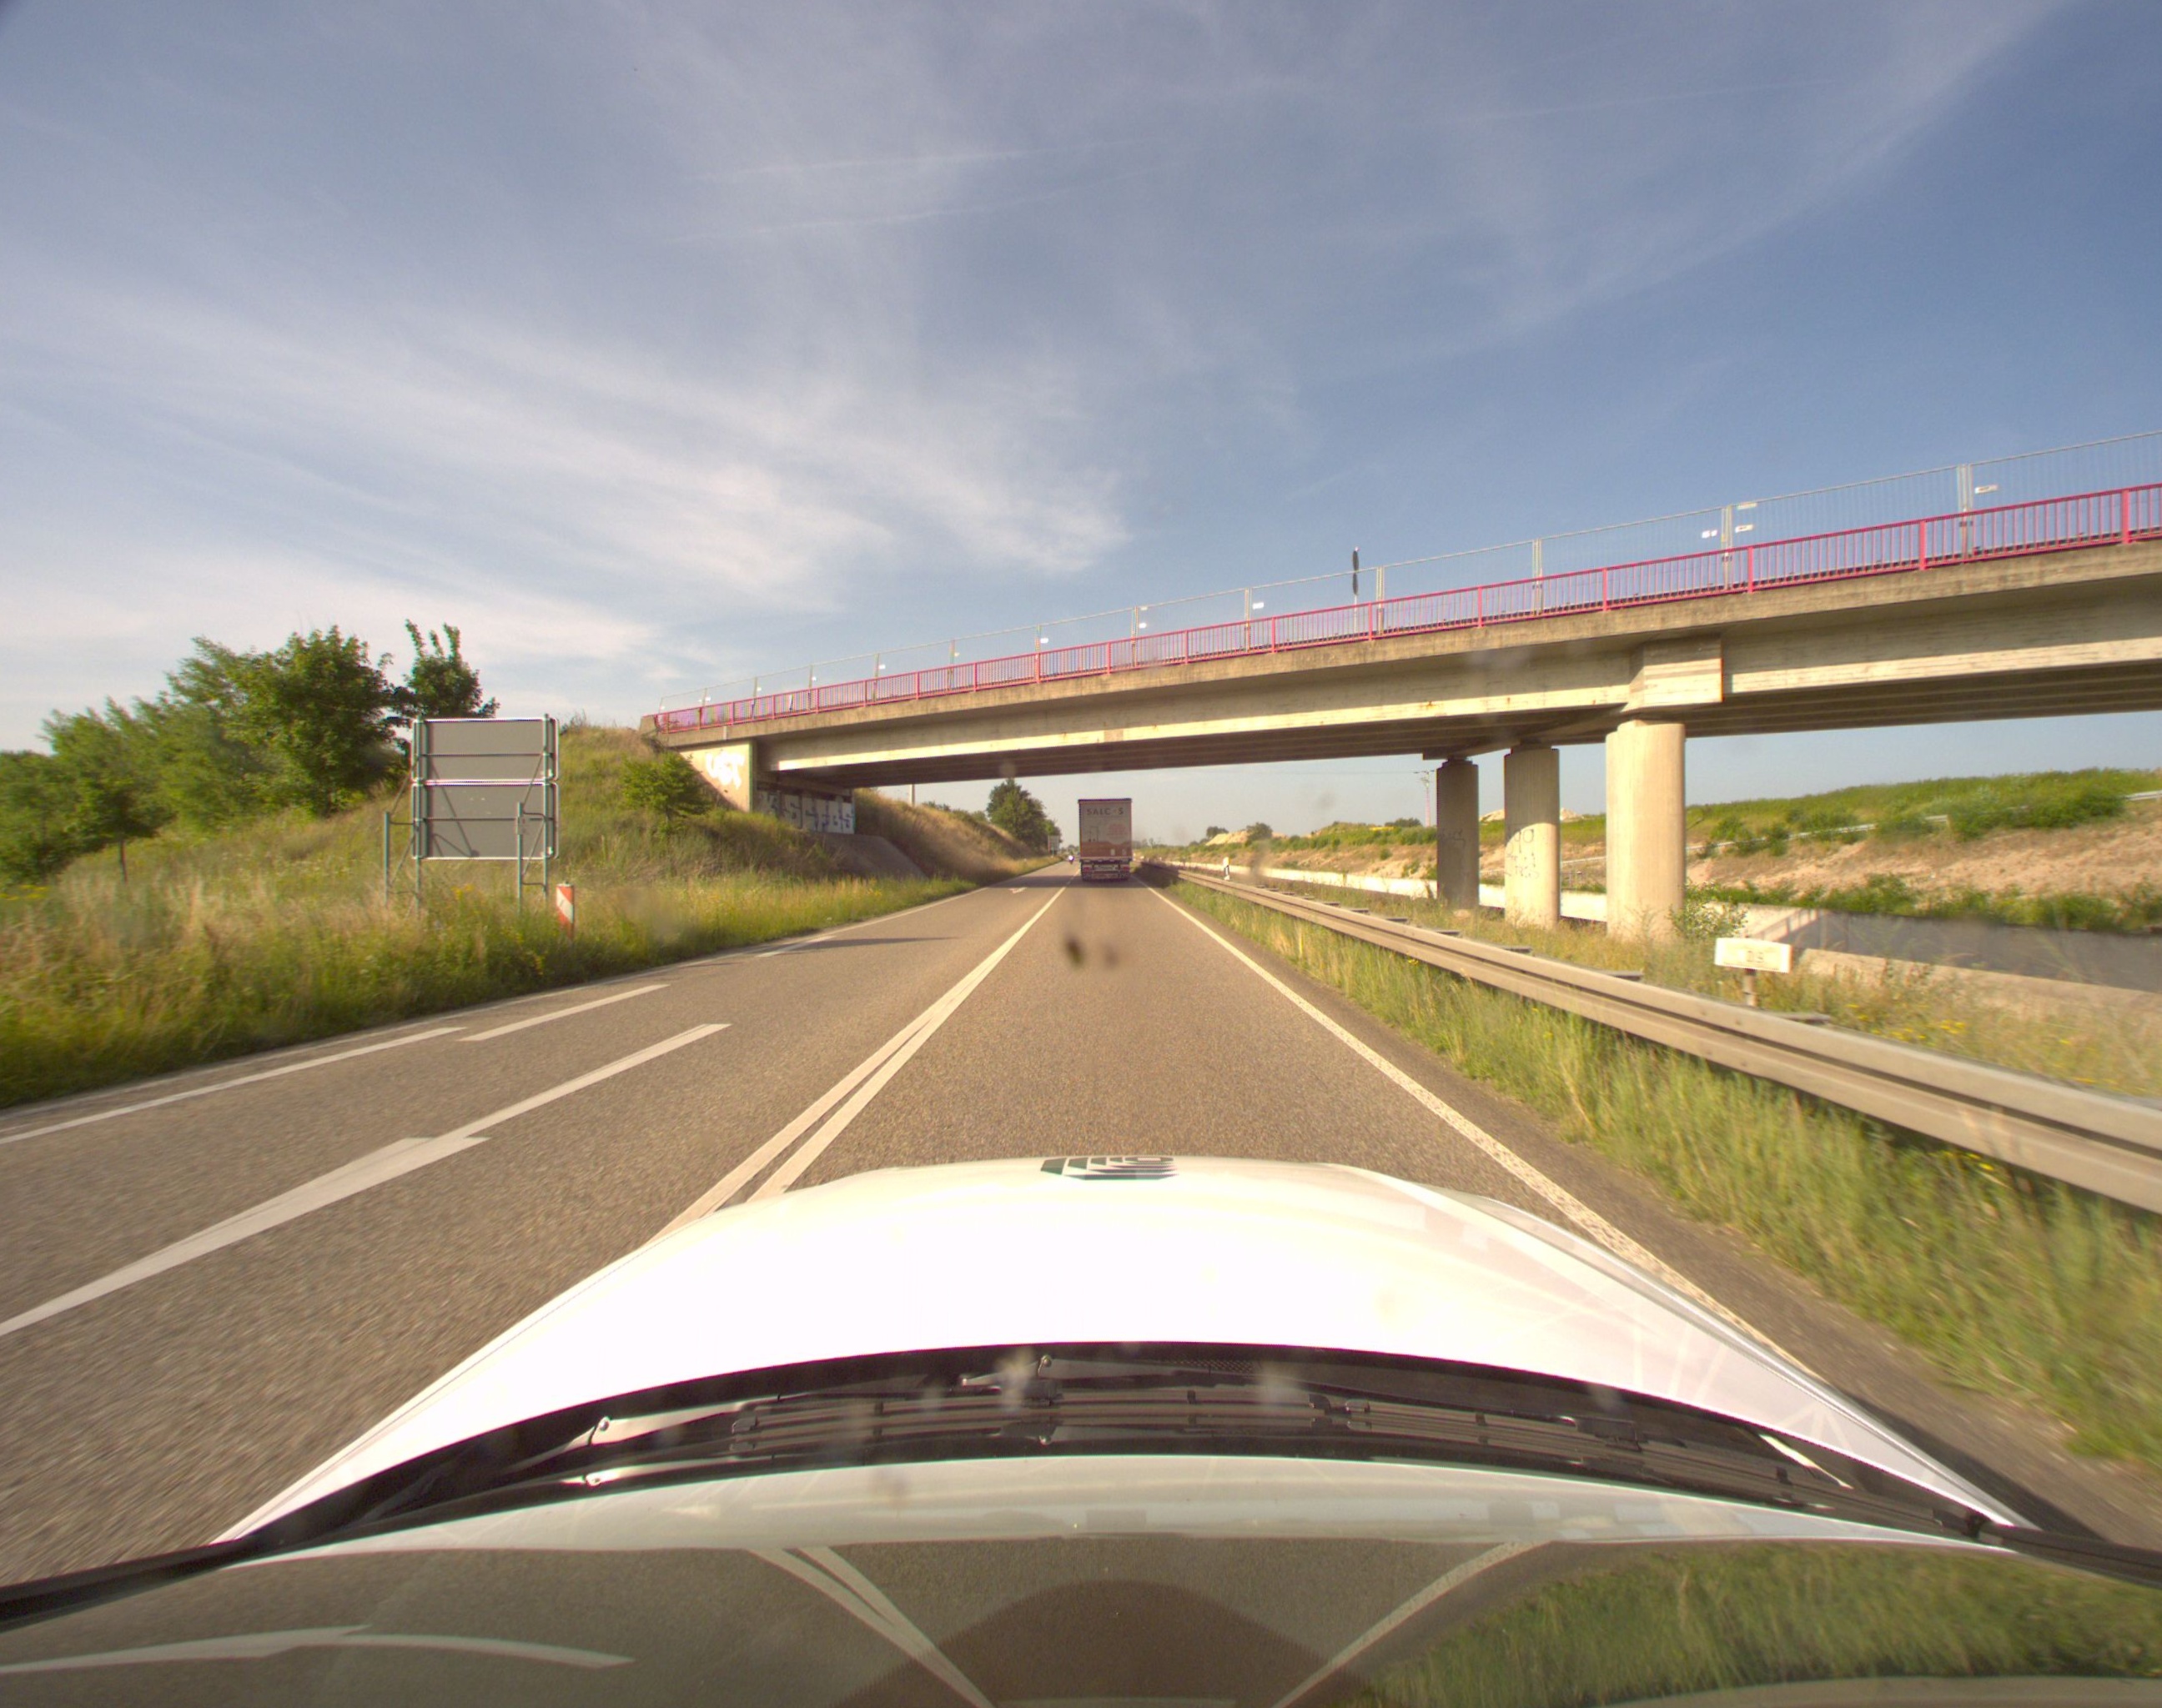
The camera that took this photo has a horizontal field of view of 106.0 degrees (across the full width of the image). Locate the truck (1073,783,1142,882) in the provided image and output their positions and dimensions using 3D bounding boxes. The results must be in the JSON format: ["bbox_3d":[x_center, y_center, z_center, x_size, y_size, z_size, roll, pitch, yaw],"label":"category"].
[{"bbox_3d":[1.224,-1.021,43.214,3.144,4.688,8.438,-1,0,-1],"label":"truck"}]

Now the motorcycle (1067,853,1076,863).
[{"bbox_3d":[-1.185,0.510,100.468,1.038,1.117,2.131,-2,0,-1],"label":"motorcycle"}]

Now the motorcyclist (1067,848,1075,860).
[{"bbox_3d":[-1.217,-0.013,100.546,0.877,1.451,1.283,-2,0,-1],"label":"motorcyclist"}]
